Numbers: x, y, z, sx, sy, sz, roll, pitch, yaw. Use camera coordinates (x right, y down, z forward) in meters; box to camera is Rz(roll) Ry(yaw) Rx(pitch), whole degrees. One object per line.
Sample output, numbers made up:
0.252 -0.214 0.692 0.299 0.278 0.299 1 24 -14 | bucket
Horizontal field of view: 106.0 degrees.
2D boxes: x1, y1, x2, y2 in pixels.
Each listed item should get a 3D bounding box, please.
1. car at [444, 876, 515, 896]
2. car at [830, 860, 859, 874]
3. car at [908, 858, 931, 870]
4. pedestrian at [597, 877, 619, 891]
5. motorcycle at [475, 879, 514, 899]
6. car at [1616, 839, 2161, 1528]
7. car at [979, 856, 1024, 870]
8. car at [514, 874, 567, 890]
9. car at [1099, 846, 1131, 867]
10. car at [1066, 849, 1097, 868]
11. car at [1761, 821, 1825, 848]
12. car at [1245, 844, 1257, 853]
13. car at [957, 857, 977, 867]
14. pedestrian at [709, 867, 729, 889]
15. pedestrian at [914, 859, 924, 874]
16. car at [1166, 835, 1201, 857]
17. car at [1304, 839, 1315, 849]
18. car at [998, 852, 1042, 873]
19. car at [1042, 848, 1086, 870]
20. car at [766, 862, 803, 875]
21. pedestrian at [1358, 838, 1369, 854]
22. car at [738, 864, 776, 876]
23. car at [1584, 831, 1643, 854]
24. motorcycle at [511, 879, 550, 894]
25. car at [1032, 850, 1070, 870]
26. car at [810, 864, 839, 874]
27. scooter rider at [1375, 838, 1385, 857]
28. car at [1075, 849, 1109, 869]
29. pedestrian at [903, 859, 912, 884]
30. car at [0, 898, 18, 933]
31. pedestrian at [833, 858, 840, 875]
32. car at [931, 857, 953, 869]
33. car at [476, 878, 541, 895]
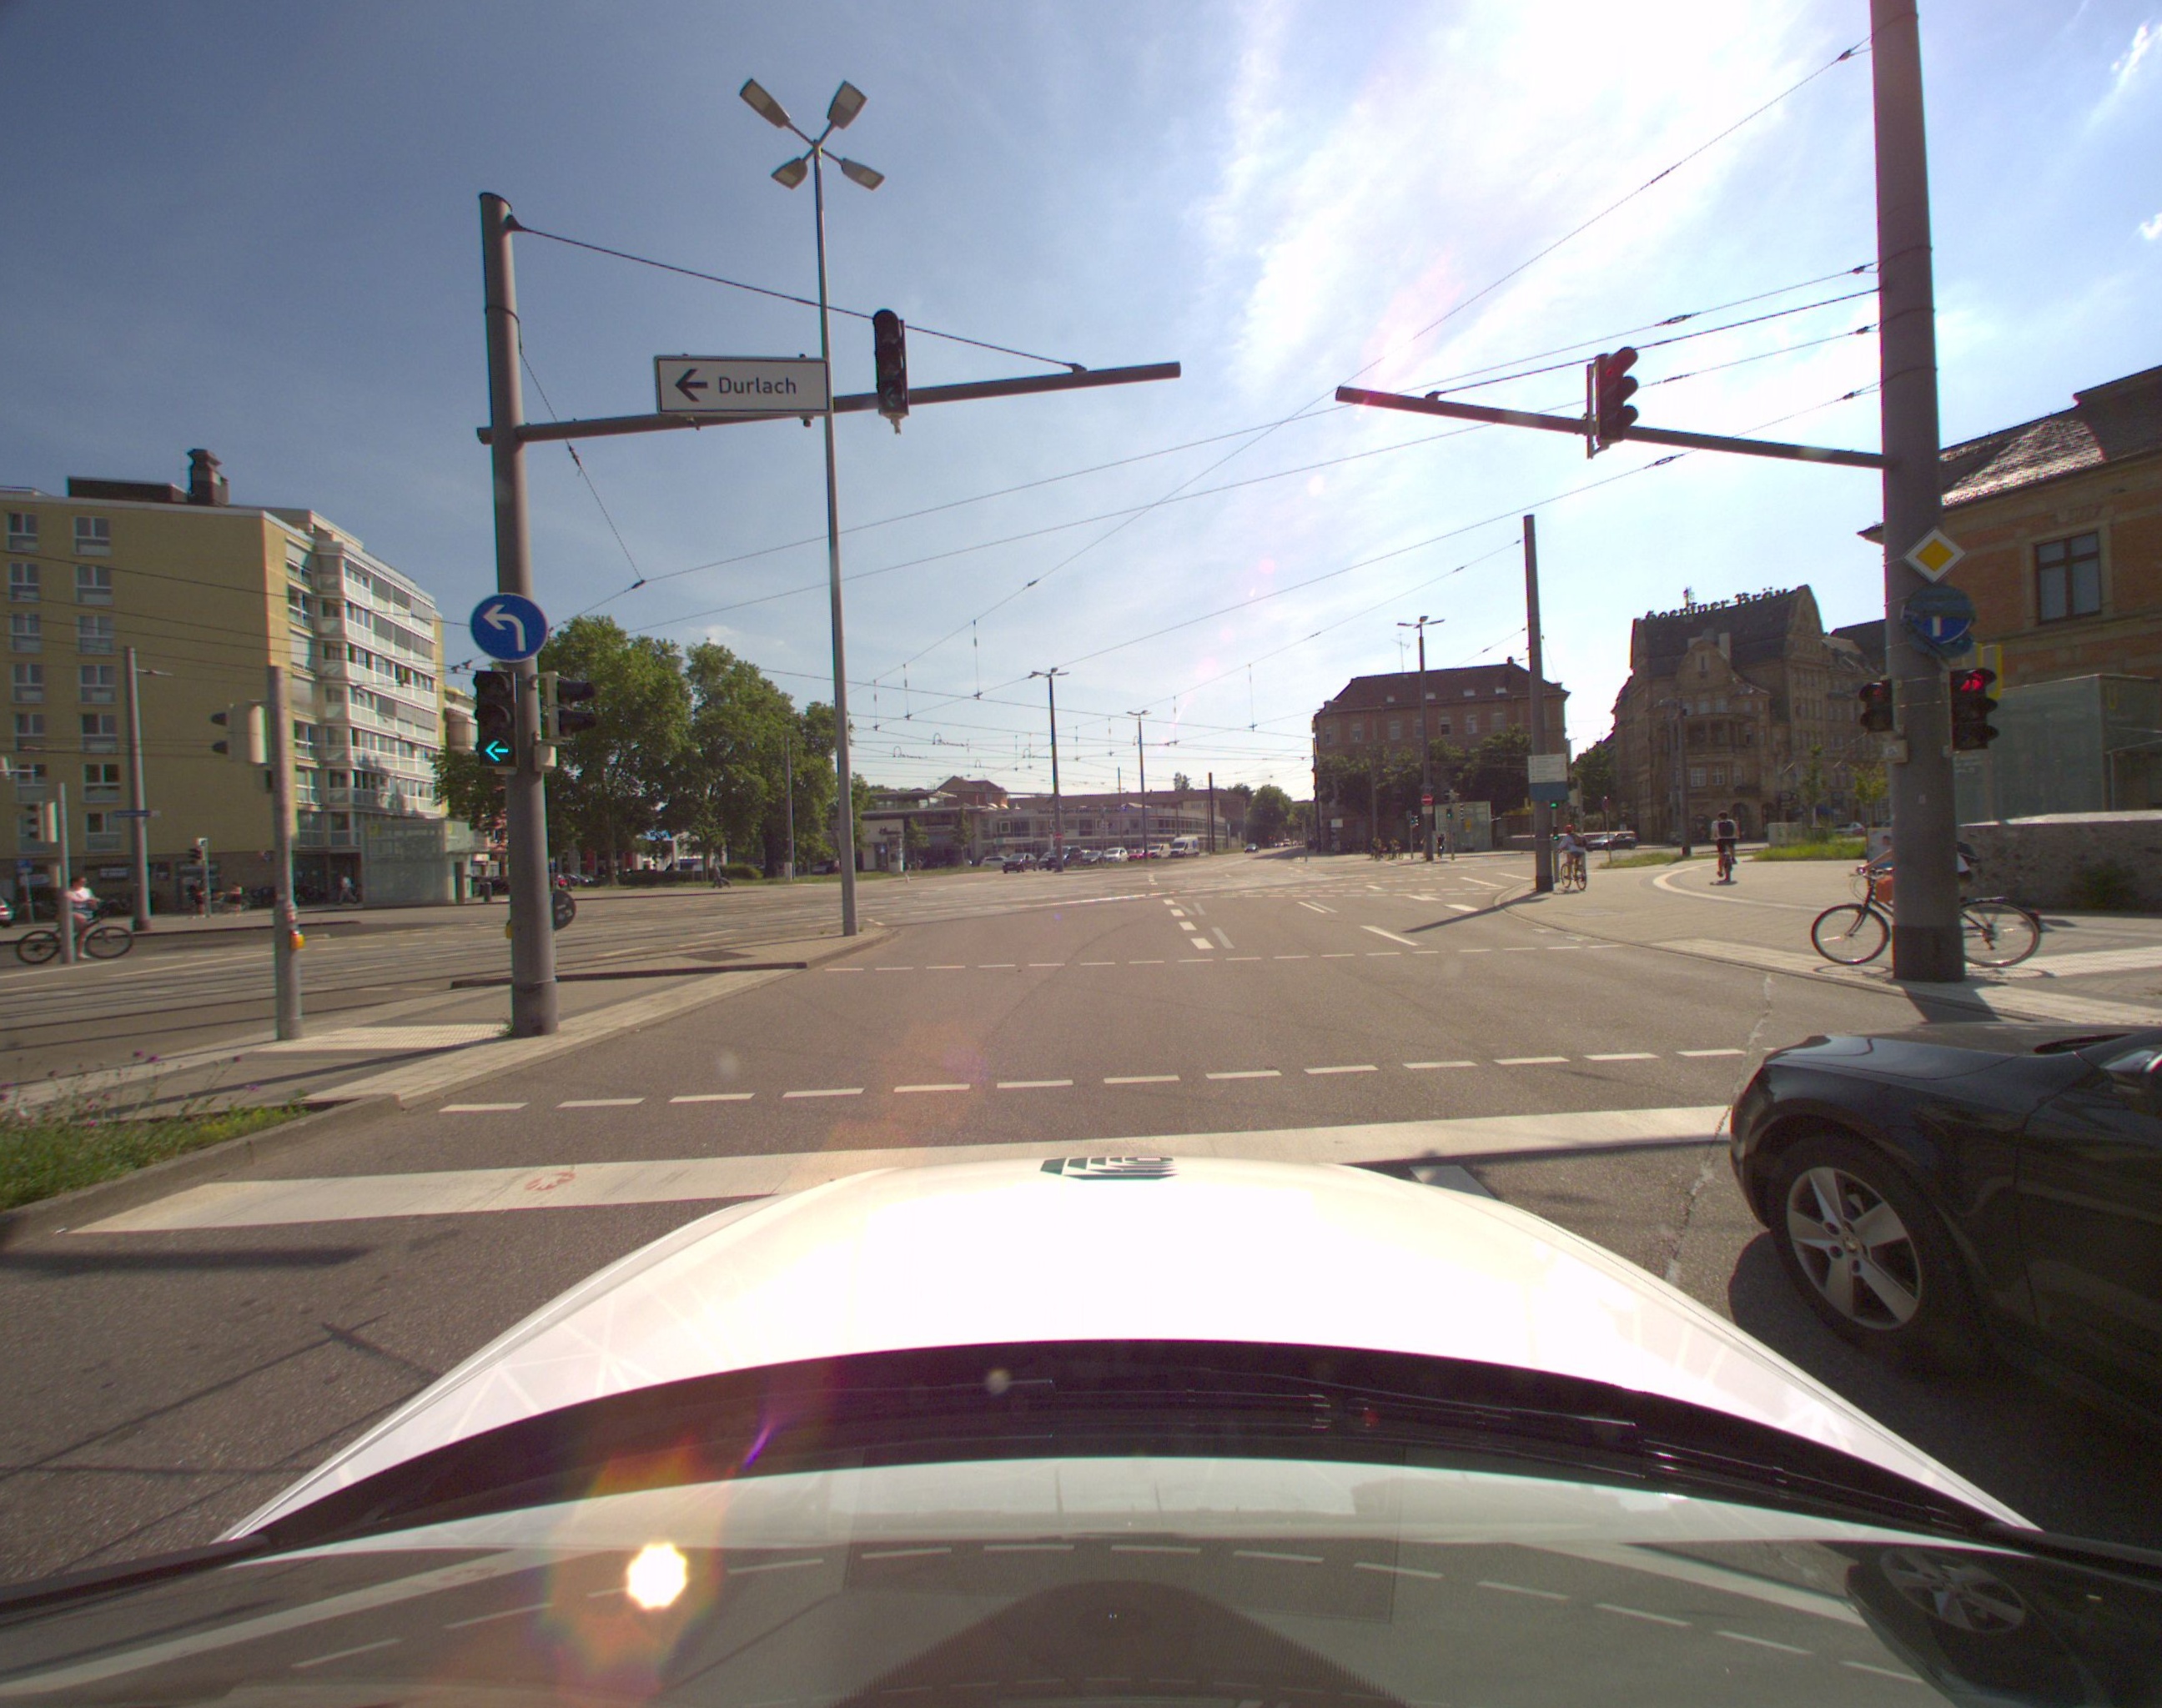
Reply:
-46.431 2.439 62.943 3.994 1.440 1.881 0 -1 -15 | car
-29.626 1.630 102.111 1.983 1.684 4.008 0 -1 7 | car
-20.027 1.186 101.046 1.987 1.486 4.000 0 0 0 | car
-33.159 2.129 57.085 1.175 0.892 0.818 -2 0 -18 | pedestrian
-35.741 2.129 49.637 2.019 1.062 0.642 -2 0 9 | motorcycle
3.049 0.668 1.024 1.625 1.435 4.779 -1 -1 0 | car
-8.548 0.954 87.851 4.550 1.436 1.450 -1 -1 15 | car
-49.701 2.591 74.968 3.729 1.340 1.735 0 -1 -15 | car
3.282 0.284 78.524 1.879 1.917 4.220 -3 -1 19 | car
0.086 0.451 78.278 1.638 1.739 4.220 -3 -1 19 | car
39.138 -1.087 44.749 3.464 1.313 1.655 -3 0 -32 | car
27.090 -0.909 129.539 1.372 1.414 3.028 -1 -1 21 | car
-14.095 0.965 100.488 1.824 1.195 4.000 0 0 1 | car
-22.862 1.503 51.397 1.117 1.404 0.652 0 -1 -20 | pedestrian
-18.087 1.393 90.786 0.951 1.580 0.534 0 -1 -2 | pedestrian
12.560 -0.950 99.410 2.188 2.575 5.910 -1 -1 28 | car
46.242 -2.008 164.800 2.092 2.013 4.017 -2 0 16 | car
-4.755 0.655 64.249 1.876 1.588 4.230 -3 -1 19 | car
-1.292 0.338 64.783 1.945 1.587 4.739 -2 0 19 | car
-38.576 1.872 105.923 3.974 1.552 2.000 -2 0 0 | car
25.488 -0.729 73.505 0.616 1.433 0.705 0 -1 -36 | pedestrian
-40.971 2.032 102.933 3.973 1.371 2.000 0 0 1 | car
40.918 -0.869 62.612 3.998 1.584 1.628 -2 0 -18 | car
-36.860 2.182 54.548 0.632 0.842 2.051 -2 0 35 | motorcycle
-2.570 0.525 71.013 1.879 1.588 4.019 -3 -1 19 | car
-31.987 1.864 101.771 1.983 1.244 4.008 0 0 7 | car
21.848 -0.469 59.543 0.584 1.397 0.407 0 -1 1 | scooter rider
0.999 0.461 71.279 1.880 1.588 4.017 -3 -1 16 | car
-11.353 1.125 53.276 0.456 1.605 0.396 0 -1 -34 | pedestrian
-49.264 2.835 36.487 3.948 1.440 1.825 -5 -2 35 | car
-22.929 1.194 76.264 0.388 1.596 0.467 -1 -1 25 | pedestrian
-17.256 1.111 100.952 1.987 1.486 4.000 0 0 0 | car
-47.302 2.652 67.368 3.994 1.270 1.735 0 -1 -15 | car
